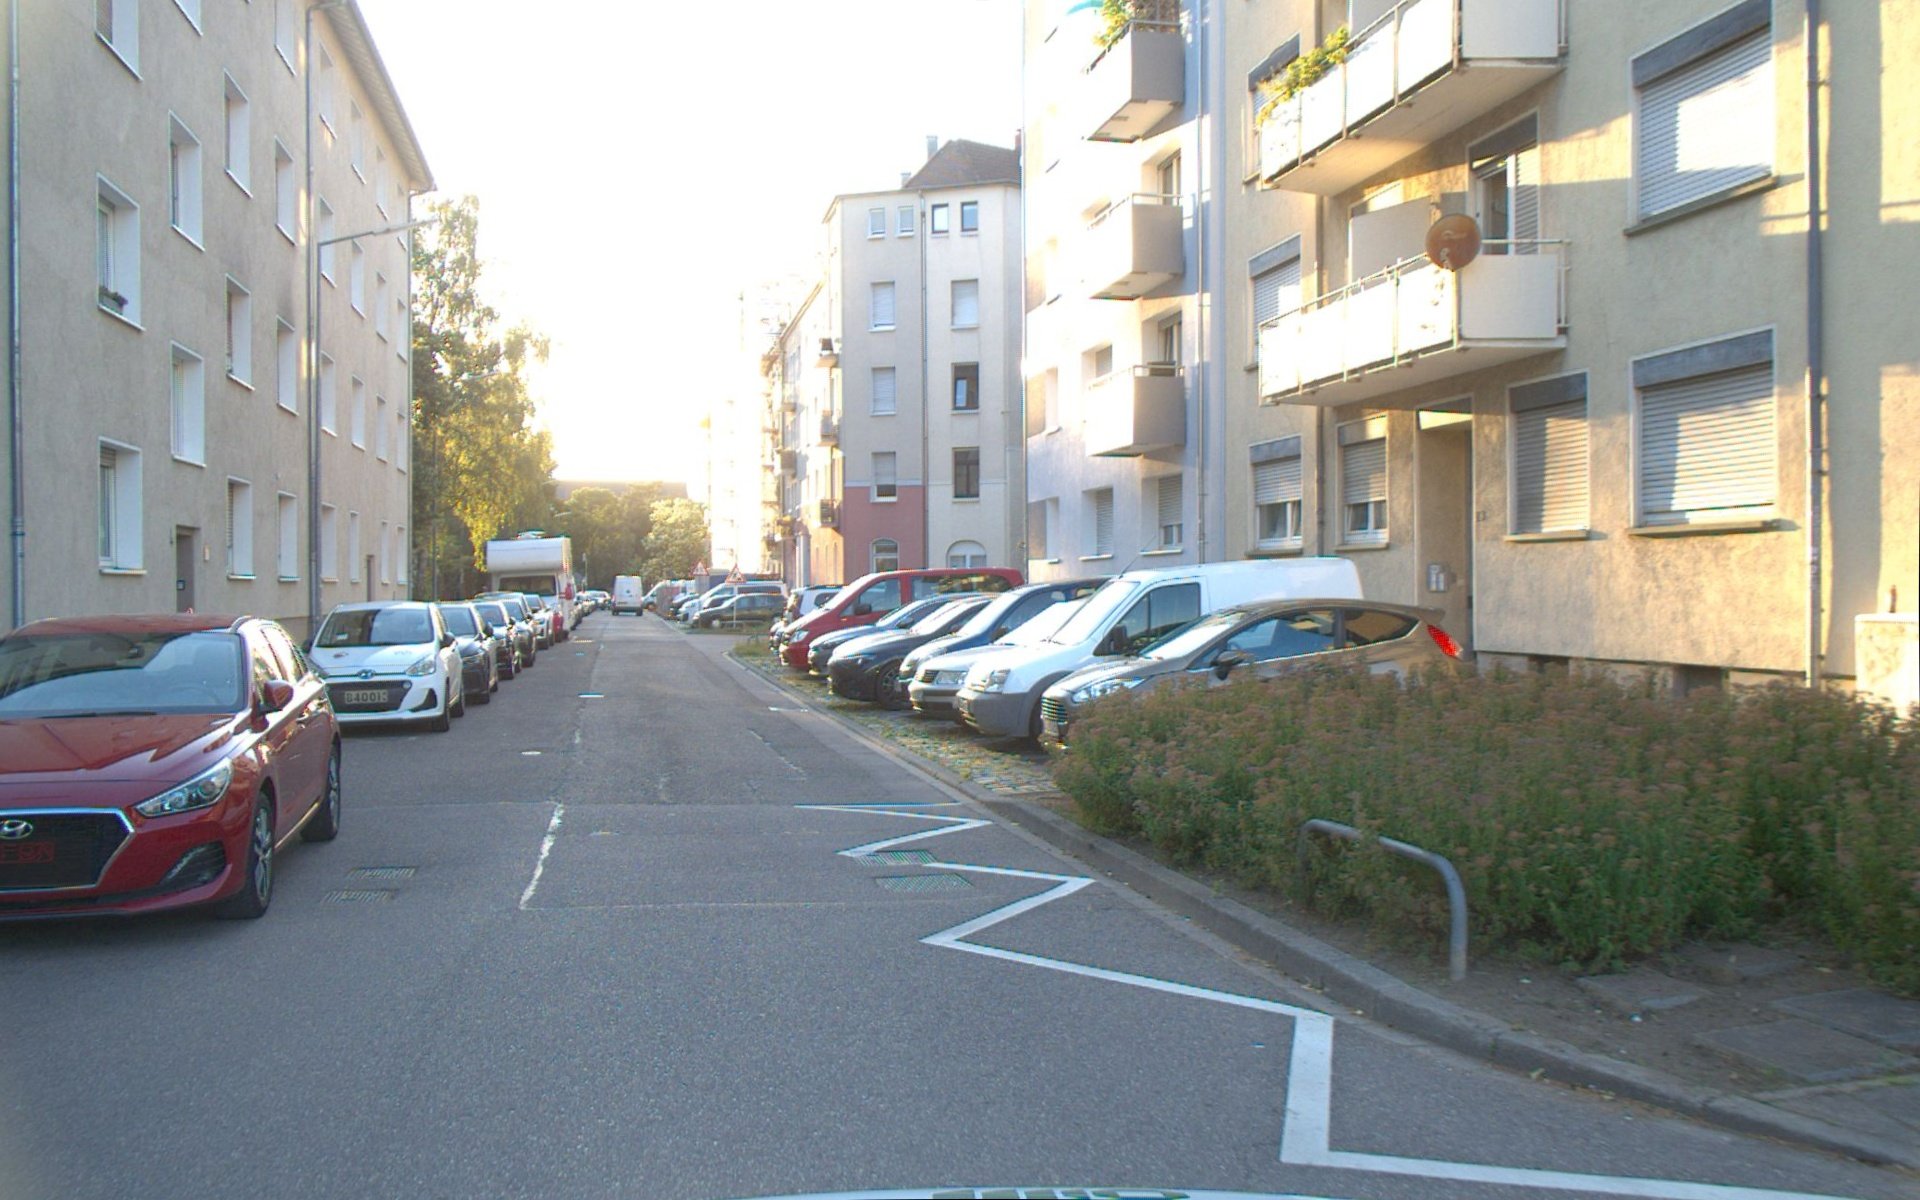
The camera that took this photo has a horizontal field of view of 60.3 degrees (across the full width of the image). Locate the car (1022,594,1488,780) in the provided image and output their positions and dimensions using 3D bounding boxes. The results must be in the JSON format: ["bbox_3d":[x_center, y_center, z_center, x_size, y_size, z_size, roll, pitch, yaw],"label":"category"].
[{"bbox_3d":[2.613,0.718,14.991,3.804,1.518,1.736,0,0,-12],"label":"car"}]

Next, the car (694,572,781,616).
[{"bbox_3d":[-10.728,-0.307,79.660,3.922,2.049,1.991,-1,0,-16],"label":"car"}]

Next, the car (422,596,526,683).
[{"bbox_3d":[-9.060,0.685,31.054,1.625,1.459,3.782,-2,1,-14],"label":"car"}]

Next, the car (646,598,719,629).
[{"bbox_3d":[-15.488,0.747,92.238,3.918,1.557,1.653,-2,1,-13],"label":"car"}]

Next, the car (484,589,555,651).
[{"bbox_3d":[-12.073,0.519,45.525,1.624,1.568,3.864,-2,1,-12],"label":"car"}]

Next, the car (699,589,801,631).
[{"bbox_3d":[-8.492,0.391,66.798,3.918,1.557,1.653,-2,1,-13],"label":"car"}]

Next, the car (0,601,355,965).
[{"bbox_3d":[-4.483,0.774,8.922,1.814,1.499,4.064,-1,0,-14],"label":"car"}]

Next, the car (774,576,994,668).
[{"bbox_3d":[-1.590,0.426,34.071,4.250,1.666,1.812,-2,0,-13],"label":"car"}]

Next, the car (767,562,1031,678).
[{"bbox_3d":[-1.181,0.350,31.224,4.641,1.942,2.052,-2,0,-13],"label":"car"}]

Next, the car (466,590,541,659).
[{"bbox_3d":[-11.323,0.567,41.208,1.625,1.592,3.862,-2,1,-14],"label":"car"}]

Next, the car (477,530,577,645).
[{"bbox_3d":[-13.679,-0.407,52.736,2.574,3.326,7.674,-2,1,-12],"label":"car"}]

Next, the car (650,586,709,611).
[{"bbox_3d":[-19.367,-0.116,114.345,3.918,1.557,1.653,-2,1,-13],"label":"car"}]

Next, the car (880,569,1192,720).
[{"bbox_3d":[0.949,0.537,21.517,3.725,1.725,1.650,-2,0,-12],"label":"car"}]

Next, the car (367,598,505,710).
[{"bbox_3d":[-7.768,0.733,24.796,1.631,1.459,4.017,-2,1,-14],"label":"car"}]

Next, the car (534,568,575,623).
[{"bbox_3d":[-19.448,-0.226,79.424,1.740,2.488,5.127,-2,1,-13],"label":"car"}]

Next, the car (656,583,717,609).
[{"bbox_3d":[-18.239,-0.279,110.347,3.918,1.557,1.653,-2,1,-13],"label":"car"}]

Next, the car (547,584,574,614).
[{"bbox_3d":[-26.094,-0.092,108.007,1.625,1.862,3.862,-2,1,-14],"label":"car"}]

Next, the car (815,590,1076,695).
[{"bbox_3d":[-0.248,0.639,26.061,3.810,1.441,1.630,-2,0,-14],"label":"car"}]

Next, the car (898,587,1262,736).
[{"bbox_3d":[1.347,0.656,19.143,3.886,1.548,1.701,-1,0,-12],"label":"car"}]

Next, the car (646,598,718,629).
[{"bbox_3d":[-15.858,0.757,94.227,3.918,1.557,1.653,-2,1,-13],"label":"car"}]

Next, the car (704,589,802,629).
[{"bbox_3d":[-8.668,0.362,69.125,3.918,1.557,1.653,-2,1,-13],"label":"car"}]

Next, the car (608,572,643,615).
[{"bbox_3d":[-22.714,-0.466,112.281,2.092,2.764,4.816,-2,1,-14],"label":"car"}]

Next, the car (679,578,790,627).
[{"bbox_3d":[-10.029,0.095,73.596,4.730,2.002,1.733,-2,1,-13],"label":"car"}]

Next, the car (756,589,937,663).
[{"bbox_3d":[-2.523,0.550,36.475,3.746,1.453,1.629,-2,0,-13],"label":"car"}]

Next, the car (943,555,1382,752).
[{"bbox_3d":[2.054,0.503,17.216,4.204,1.893,1.736,0,0,-12],"label":"car"}]

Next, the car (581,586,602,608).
[{"bbox_3d":[-32.159,-0.281,144.347,1.625,1.862,3.862,-2,1,-14],"label":"car"}]

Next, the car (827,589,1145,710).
[{"bbox_3d":[0.333,0.659,23.515,4.233,1.475,1.650,-2,0,-12],"label":"car"}]

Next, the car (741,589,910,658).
[{"bbox_3d":[-3.178,0.536,38.897,3.746,1.453,1.629,-2,0,-13],"label":"car"}]

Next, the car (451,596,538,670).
[{"bbox_3d":[-10.043,0.672,35.902,1.625,1.459,3.862,-2,1,-14],"label":"car"}]

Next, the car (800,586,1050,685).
[{"bbox_3d":[-0.632,0.587,28.757,4.074,1.496,1.631,-2,0,-13],"label":"car"}]

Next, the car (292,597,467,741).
[{"bbox_3d":[-6.883,0.750,19.897,1.588,1.499,3.492,-2,1,-14],"label":"car"}]
